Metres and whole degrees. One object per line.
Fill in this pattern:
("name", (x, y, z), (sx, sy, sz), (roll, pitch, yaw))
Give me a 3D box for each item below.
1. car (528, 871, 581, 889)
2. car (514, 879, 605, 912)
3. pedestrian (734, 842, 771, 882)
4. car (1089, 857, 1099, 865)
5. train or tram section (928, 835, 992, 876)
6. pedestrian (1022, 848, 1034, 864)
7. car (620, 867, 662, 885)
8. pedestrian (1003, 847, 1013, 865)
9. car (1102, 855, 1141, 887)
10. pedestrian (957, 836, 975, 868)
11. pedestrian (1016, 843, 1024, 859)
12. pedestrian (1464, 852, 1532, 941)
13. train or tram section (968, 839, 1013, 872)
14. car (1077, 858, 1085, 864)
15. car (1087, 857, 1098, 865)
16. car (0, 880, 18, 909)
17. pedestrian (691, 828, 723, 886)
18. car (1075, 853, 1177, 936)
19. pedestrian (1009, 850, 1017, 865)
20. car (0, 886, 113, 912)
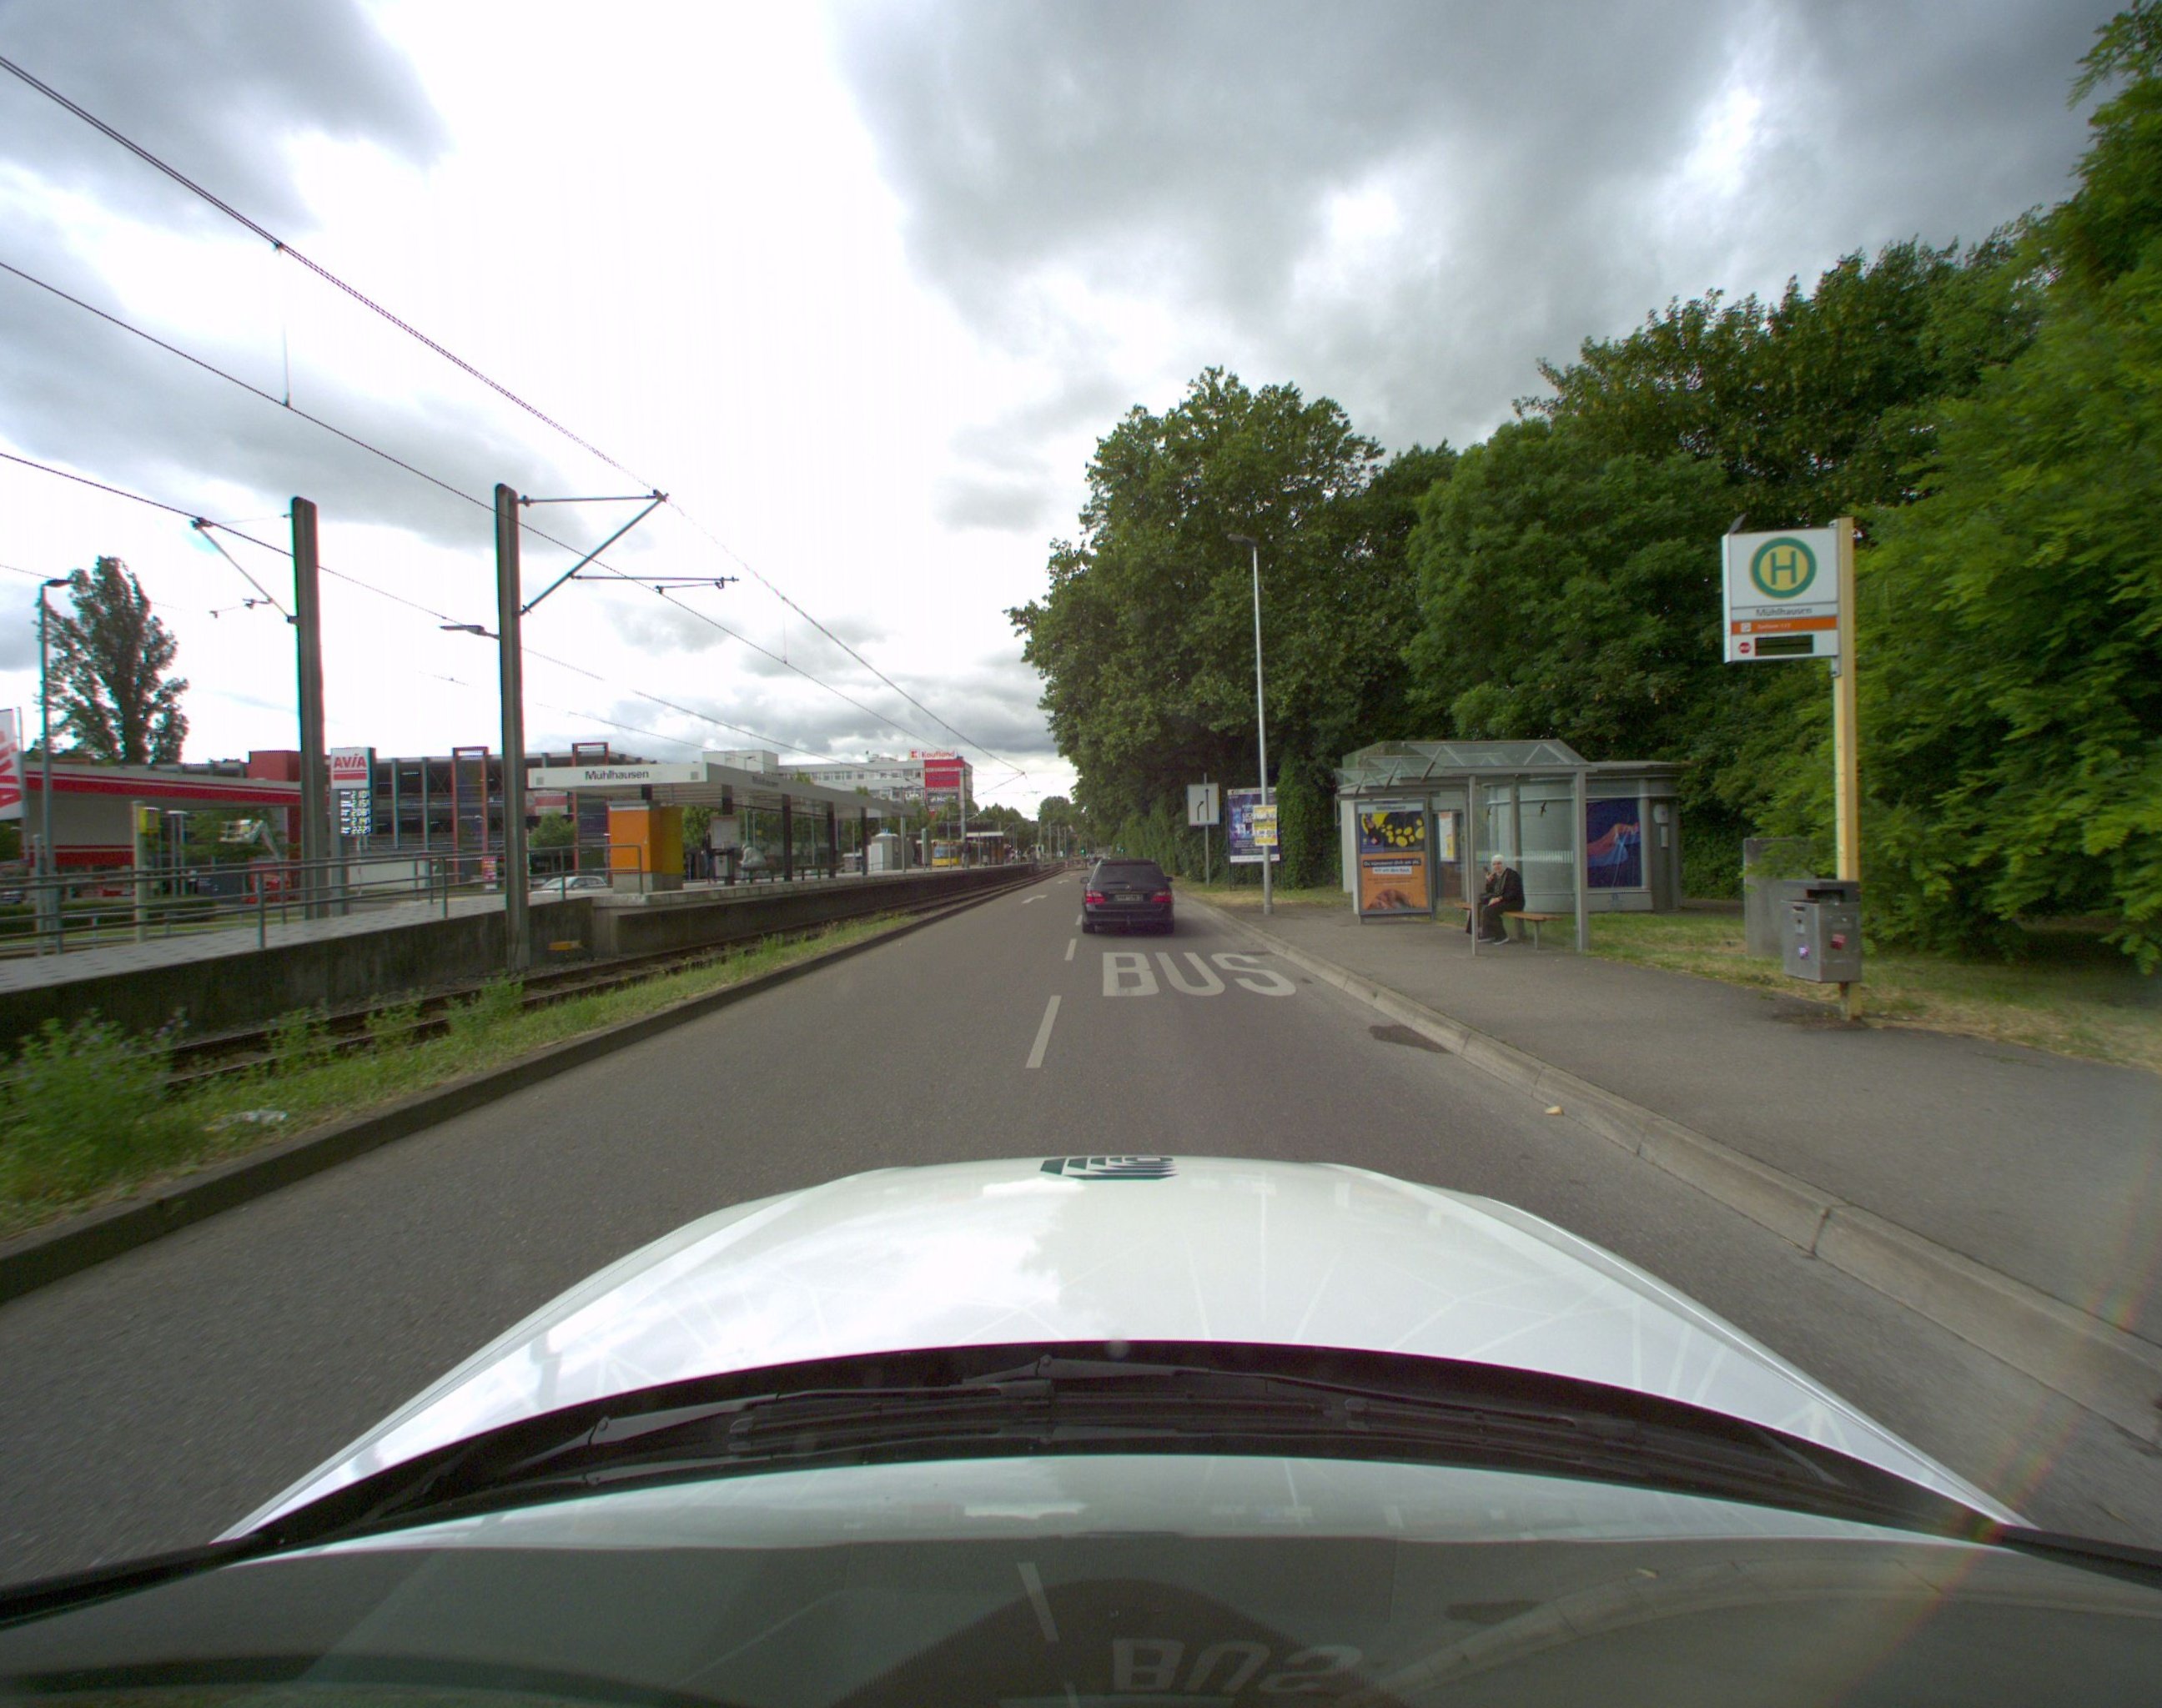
("car", (-44.059, 2.129, 68.258), (1.843, 1.310, 3.802), (-3, -1, 2))
("car", (-24.735, 1.947, 38.804), (1.606, 1.350, 4.033), (-2, 0, 2))
("pedestrian", (-9.978, 0.240, 24.734), (0.765, 1.189, 0.729), (-2, -1, 5))
("car", (2.773, 1.478, 171.636), (1.818, 1.530, 3.931), (-1, 0, 3))
("train or tram section", (-12.752, 0.170, 88.343), (2.744, 3.882, 18.650), (-2, 0, 4))
("pedestrian", (-5.653, 0.252, 86.961), (0.736, 1.678, 0.881), (-4, -1, 45))
("car", (-43.013, 2.148, 79.708), (1.770, 1.539, 4.002), (-3, 0, 2))
("pedestrian", (-7.070, 0.153, 78.532), (0.768, 1.678, 0.791), (-3, -1, 1))
("car", (2.011, 0.821, 41.683), (1.819, 1.530, 4.416), (-1, 0, 1))
("pedestrian", (-6.454, -0.100, 45.826), (0.746, 1.744, 0.937), (-3, -1, 1))
("pedestrian", (-6.034, -0.281, 80.516), (0.514, 1.482, 0.585), (-4, -1, 39))
("pedestrian", (5.746, 0.573, 11.249), (0.599, 1.158, 0.547), (-3, 0, 1))
("train or tram section", (-11.639, 0.156, 106.921), (2.745, 3.828, 18.647), (-1, 0, 3))
("car", (0.030, 1.725, 214.233), (1.818, 1.530, 3.931), (-1, 0, 3))
("car", (2.063, 1.249, 147.910), (1.818, 1.530, 4.419), (-2, 0, 3))
("car", (-68.382, 2.561, 49.606), (1.903, 1.752, 4.058), (-3, -1, 0))
("pedestrian", (-10.832, 0.094, 23.582), (0.568, 1.620, 0.586), (-3, -1, 1))
("car", (0.908, 0.728, 17.063), (1.826, 1.478, 4.418), (-1, 0, 2))
("pedestrian", (-6.788, 0.354, 81.587), (0.479, 1.483, 0.536), (-2, -1, -40))
("car", (-63.400, 2.762, 50.459), (1.903, 1.365, 4.059), (-3, -1, 1))
